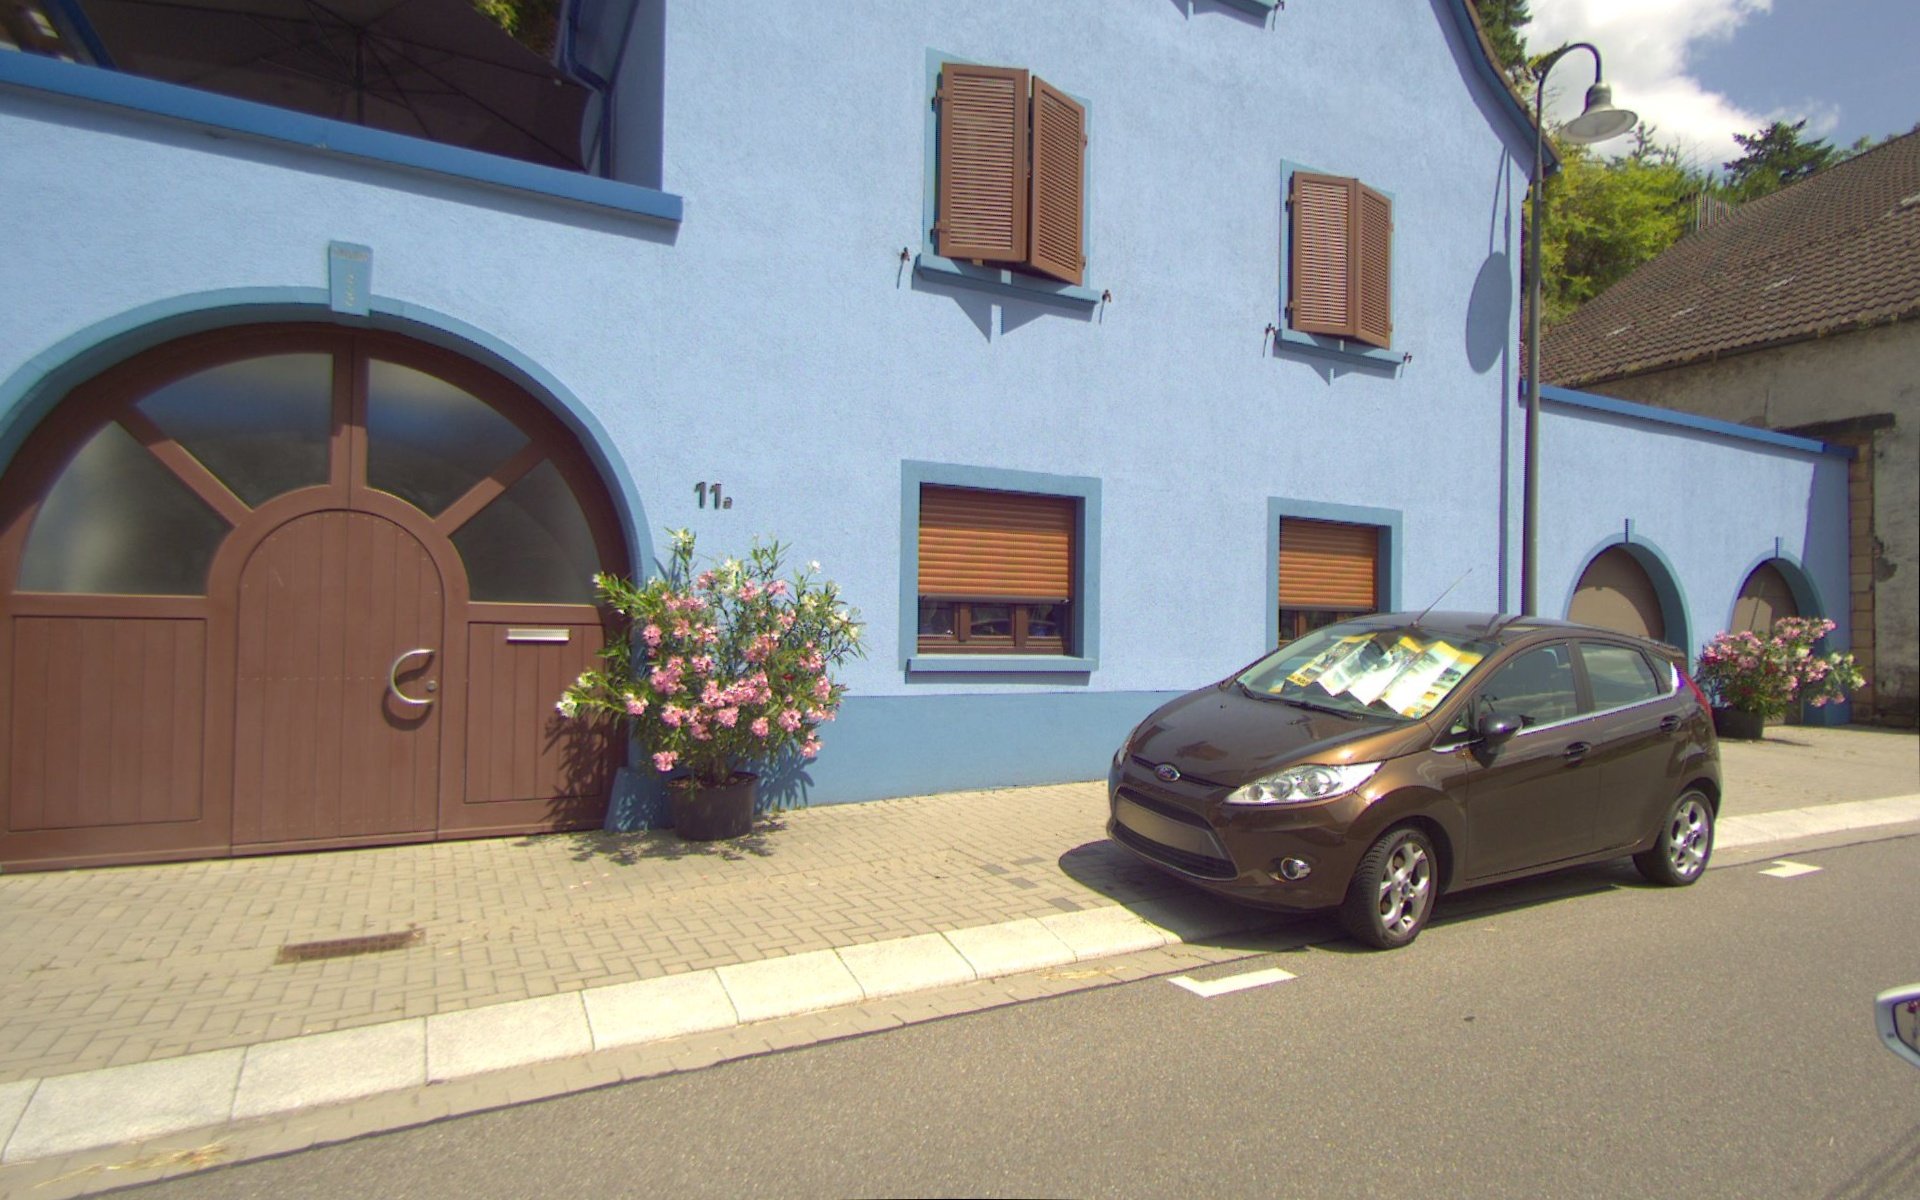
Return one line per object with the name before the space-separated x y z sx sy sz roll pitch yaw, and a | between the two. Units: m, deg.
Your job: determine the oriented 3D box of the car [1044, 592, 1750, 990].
car | 2.538 0.791 5.662 3.811 1.550 1.709 2 0 -30
